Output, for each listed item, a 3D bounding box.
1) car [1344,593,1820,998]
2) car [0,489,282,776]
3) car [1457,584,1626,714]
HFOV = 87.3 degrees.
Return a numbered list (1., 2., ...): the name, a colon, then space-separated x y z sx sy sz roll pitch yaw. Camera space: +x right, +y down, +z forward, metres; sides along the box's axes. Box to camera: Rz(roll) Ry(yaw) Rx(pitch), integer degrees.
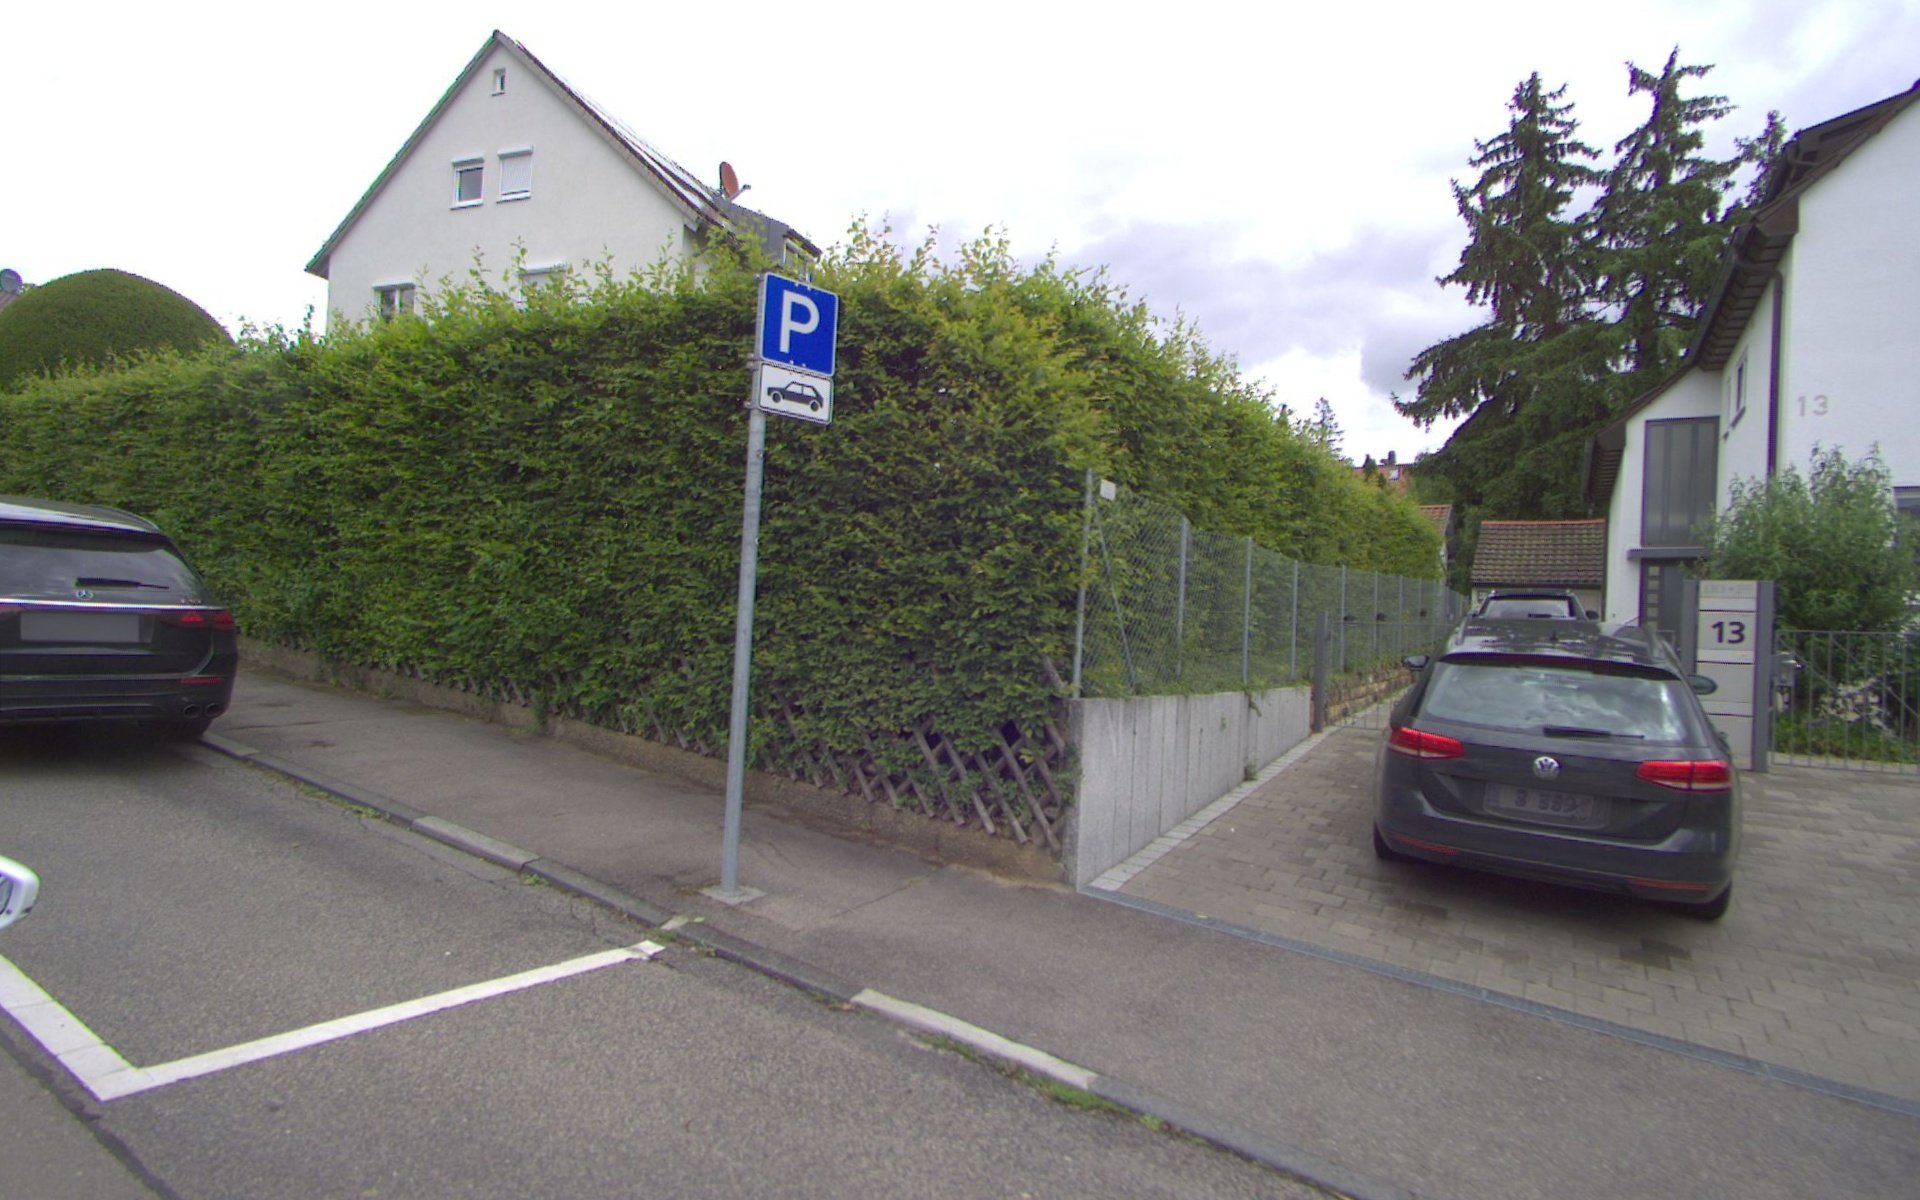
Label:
1. car: 3.802 0.859 6.611 1.819 1.526 3.985 6 5 27
2. car: -6.979 -0.043 7.001 5.125 1.513 1.924 7 1 34
3. car: 9.338 0.695 16.336 1.966 1.658 3.988 7 3 29
